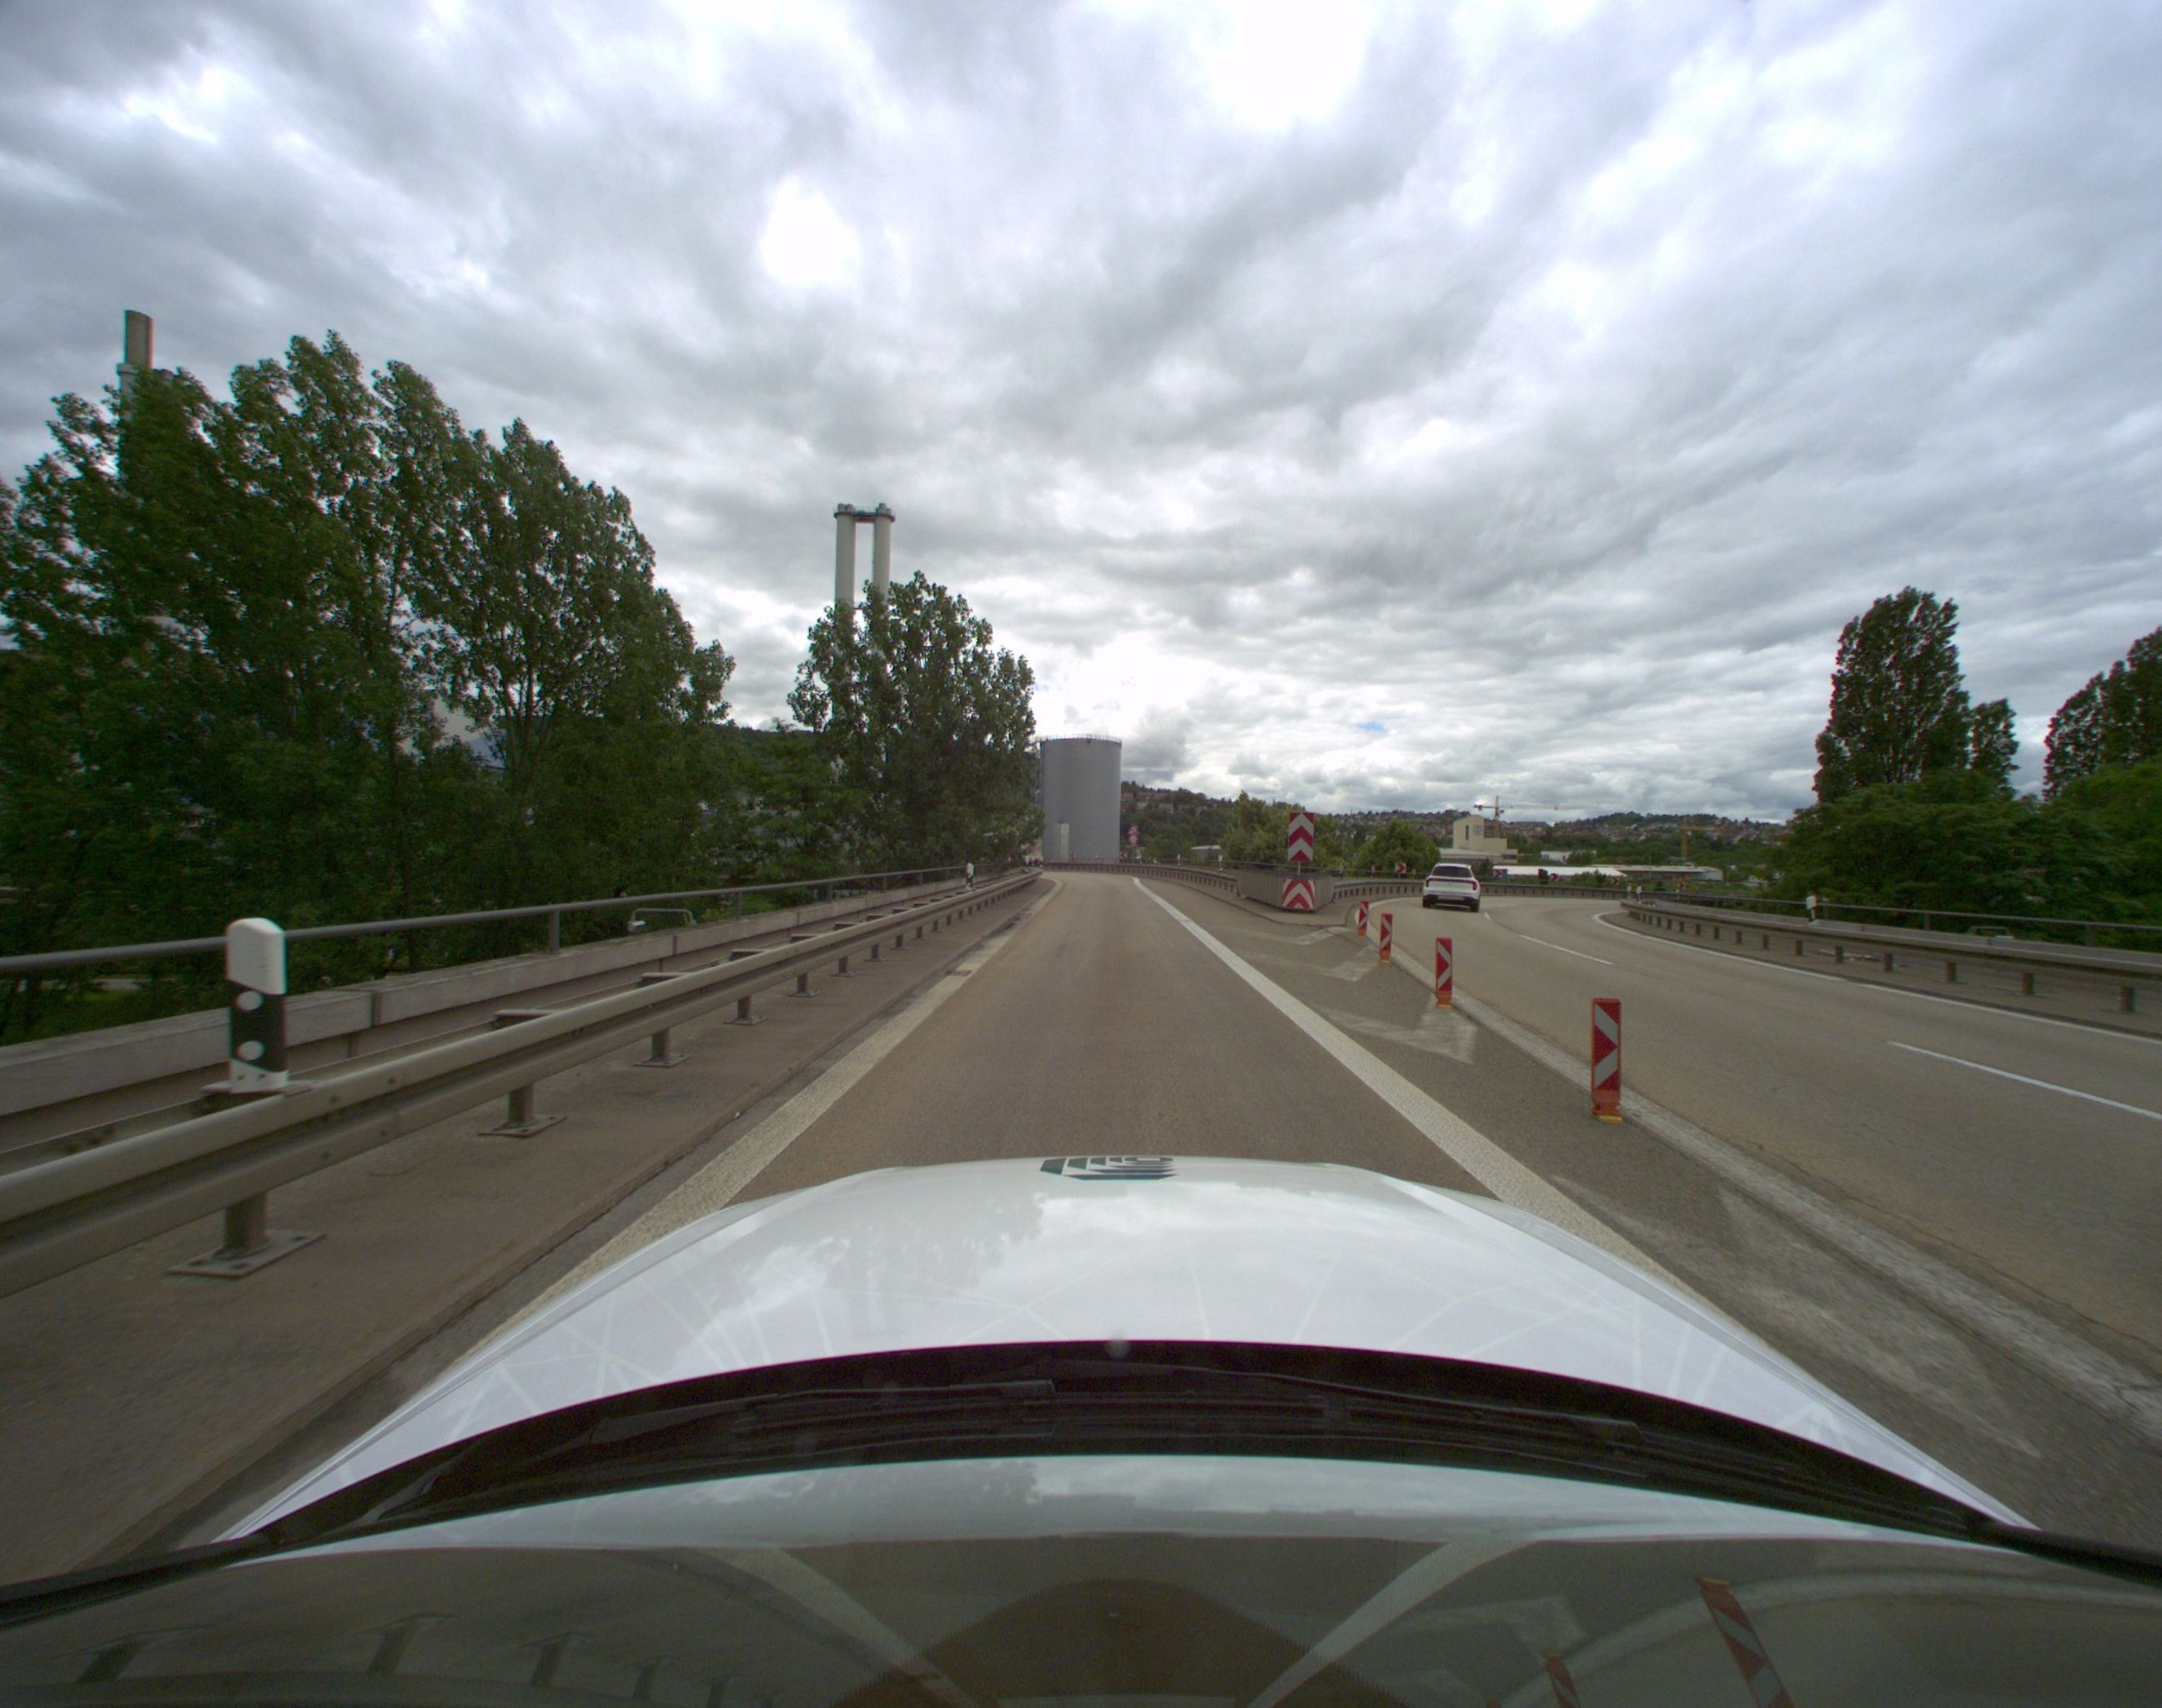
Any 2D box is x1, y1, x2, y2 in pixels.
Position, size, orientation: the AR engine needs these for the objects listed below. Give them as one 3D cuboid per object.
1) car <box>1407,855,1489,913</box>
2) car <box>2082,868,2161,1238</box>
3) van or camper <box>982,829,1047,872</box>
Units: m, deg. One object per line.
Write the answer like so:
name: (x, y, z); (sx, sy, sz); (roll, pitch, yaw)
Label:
car: (13.425, 1.031, 30.044); (1.911, 1.785, 4.128); (5, 2, 13)
car: (4.881, 0.824, 1.362); (1.744, 1.451, 4.082); (2, 1, 8)
van or camper: (-5.997, -0.271, 72.098); (3.136, 3.579, 8.483); (0, 0, -24)
